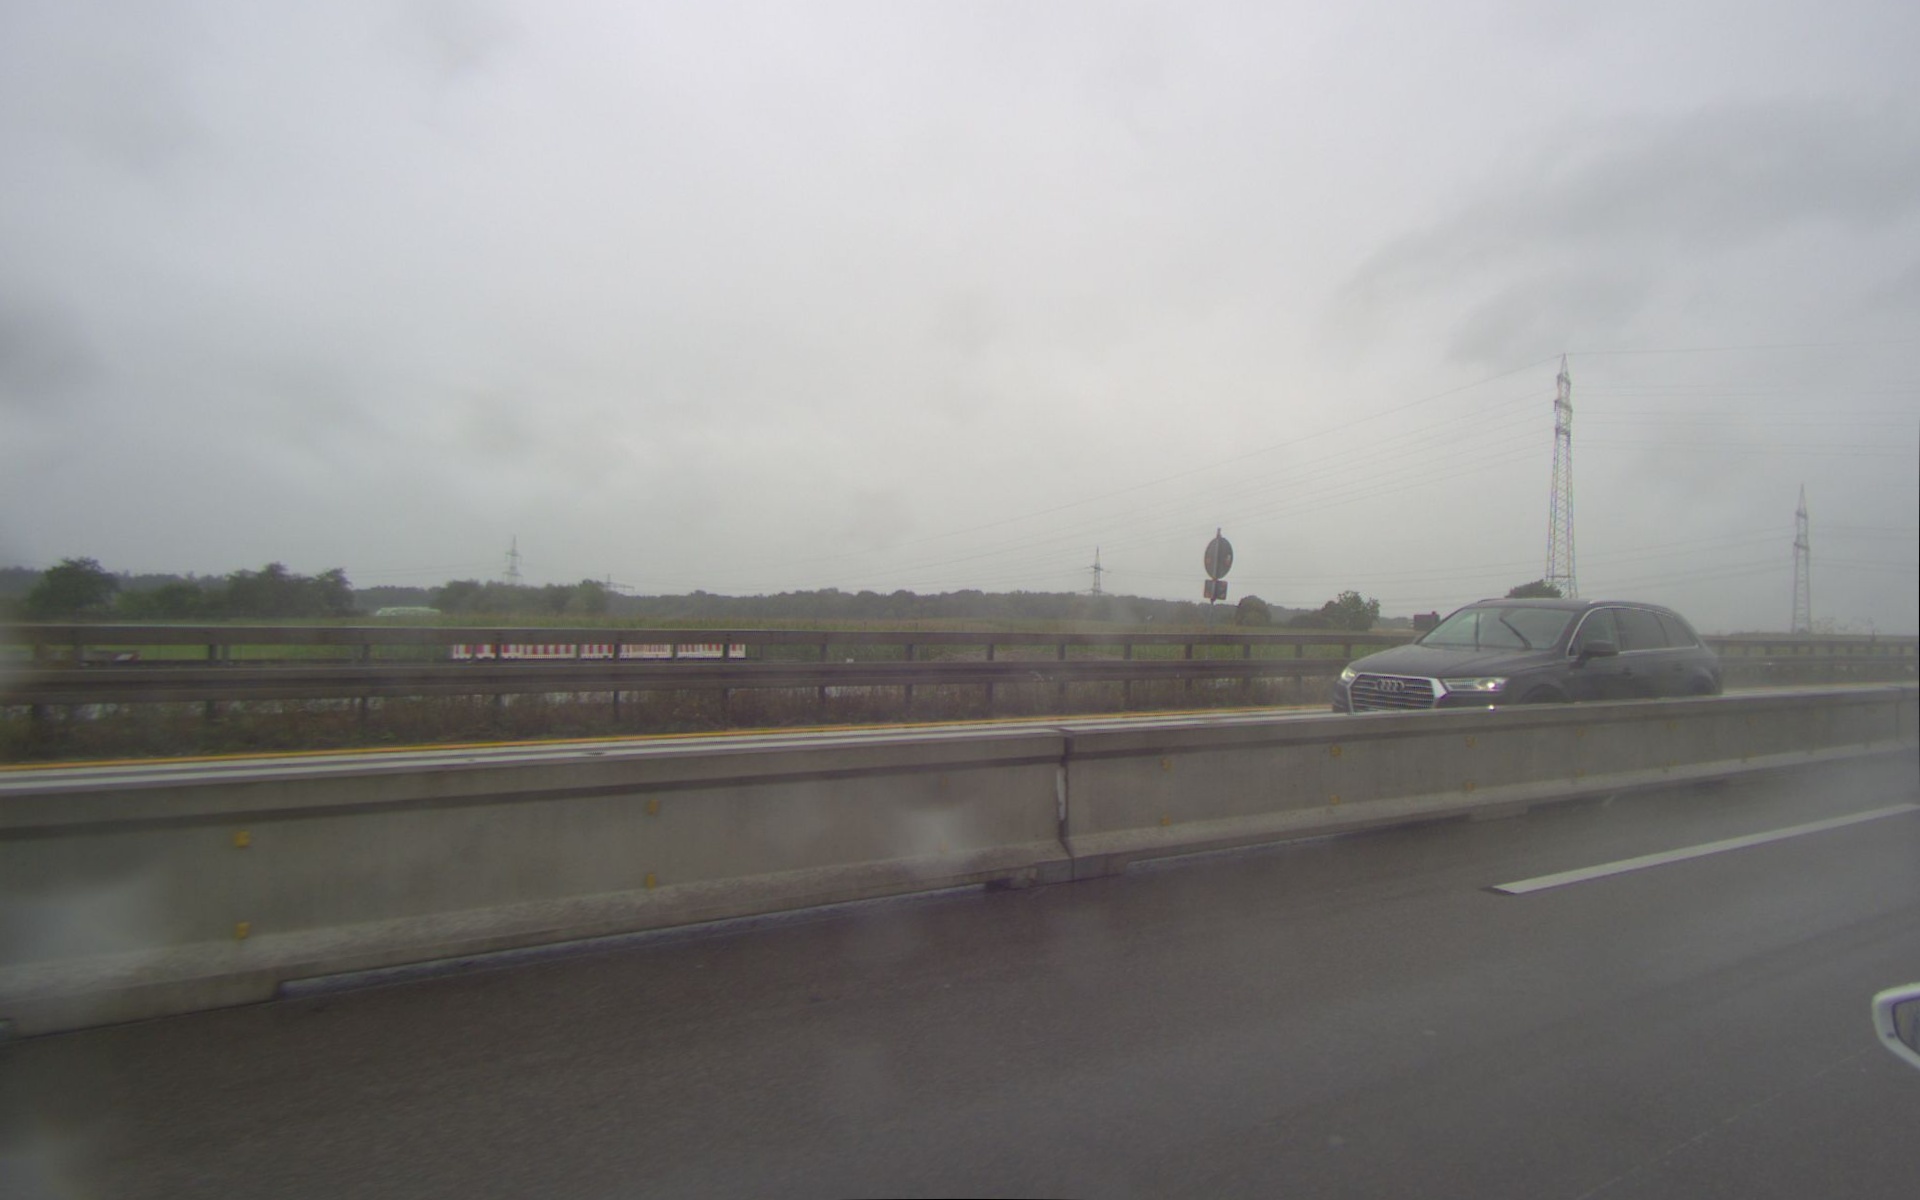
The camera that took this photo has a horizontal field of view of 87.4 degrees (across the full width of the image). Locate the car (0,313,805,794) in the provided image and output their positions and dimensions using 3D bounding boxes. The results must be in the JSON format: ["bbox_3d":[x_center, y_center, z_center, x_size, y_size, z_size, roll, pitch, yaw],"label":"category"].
[{"bbox_3d":[-3.472,-0.155,5.724,4.744,2.029,1.984,1,-2,-30],"label":"car"}]

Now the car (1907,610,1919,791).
[{"bbox_3d":[11.067,1.024,9.561,4.789,1.619,1.693,3,-1,-30],"label":"car"}]

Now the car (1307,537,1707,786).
[{"bbox_3d":[5.716,0.579,10.402,4.114,2.123,1.803,1,-1,-31],"label":"car"}]
